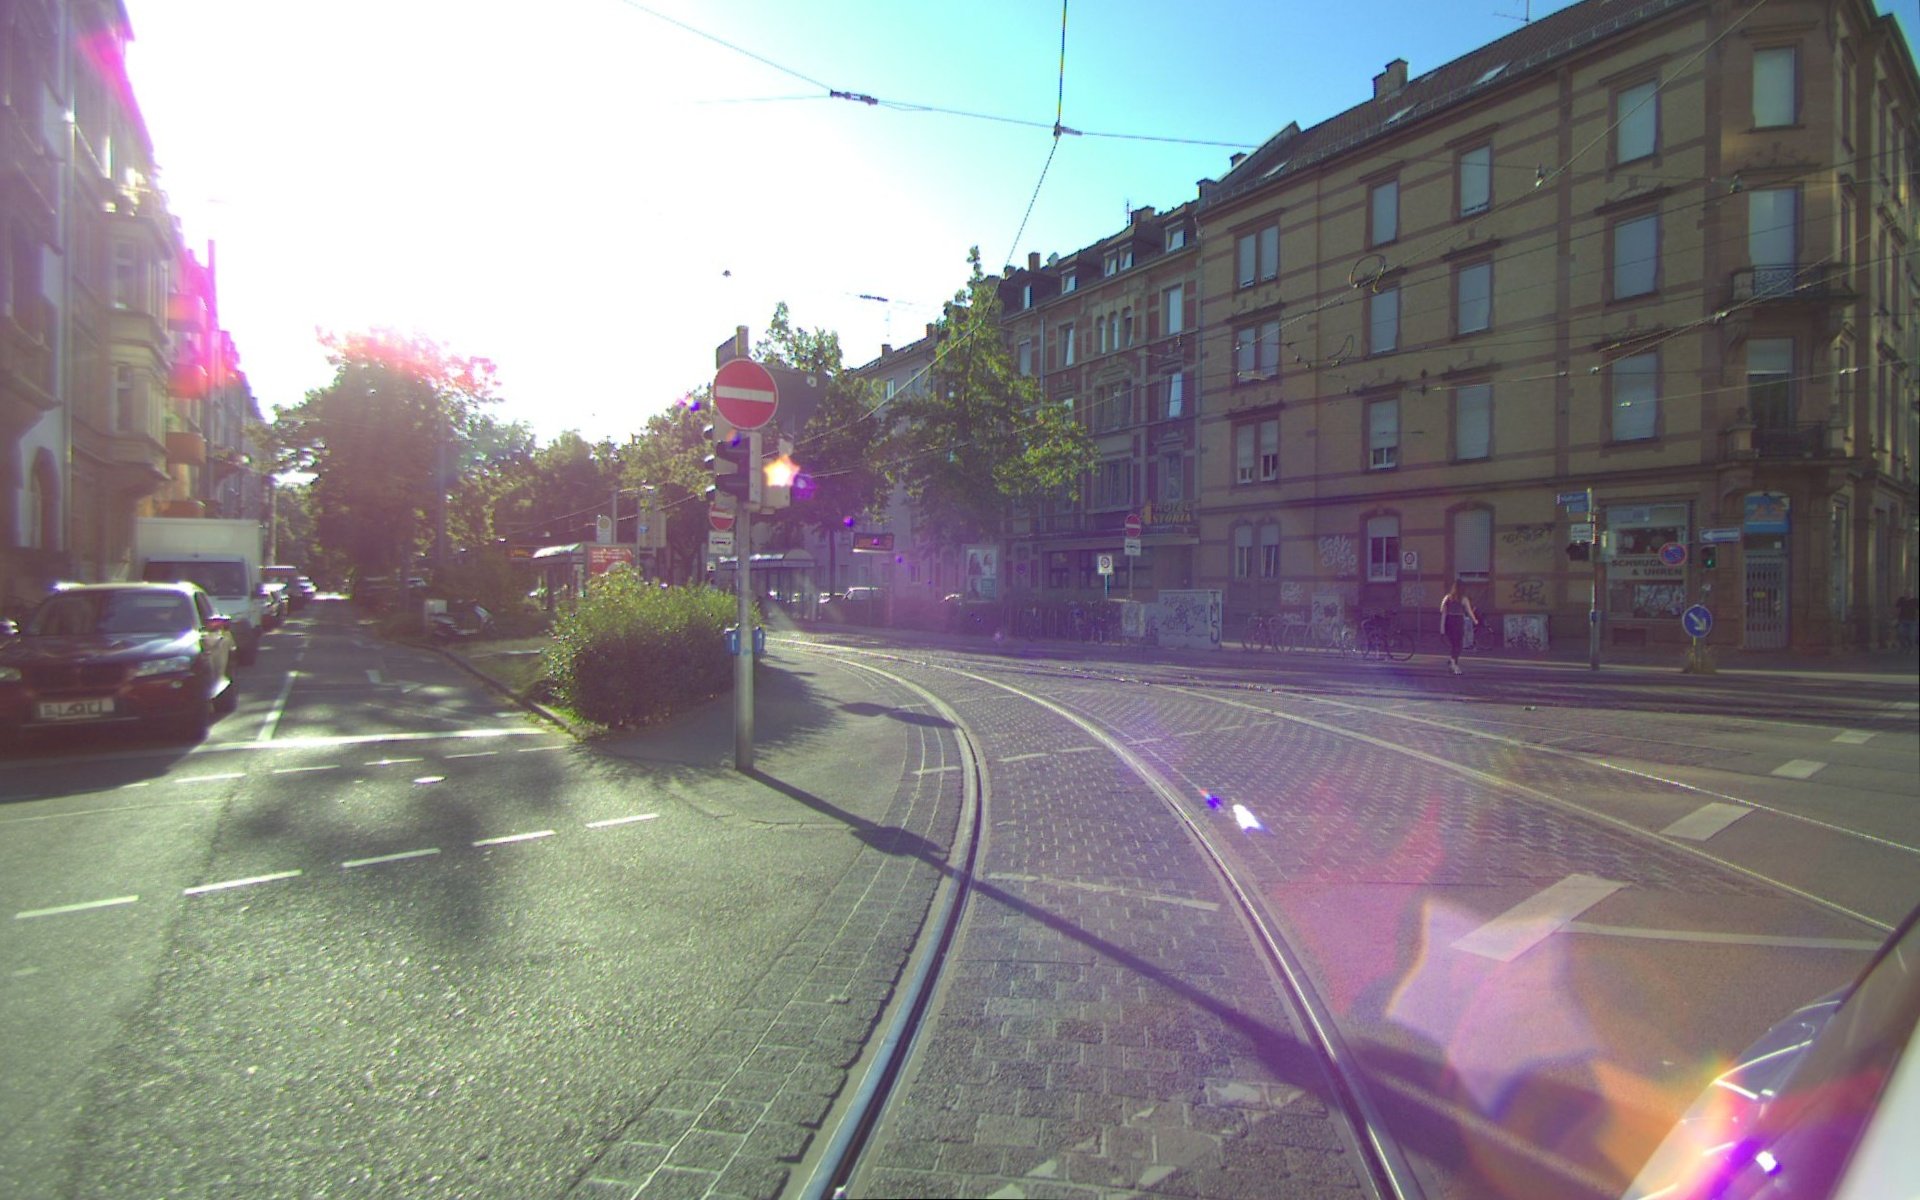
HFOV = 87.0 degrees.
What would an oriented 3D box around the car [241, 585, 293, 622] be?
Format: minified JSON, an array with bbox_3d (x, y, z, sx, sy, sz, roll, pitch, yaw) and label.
[{"bbox_3d":[-35.370,0.146,51.742,1.906,1.793,4.276,-2,1,-31],"label":"car"}]

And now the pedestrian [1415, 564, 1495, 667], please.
[{"bbox_3d":[9.169,0.264,18.742,1.065,1.829,1.024,0,0,-43],"label":"pedestrian"}]

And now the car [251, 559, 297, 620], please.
[{"bbox_3d":[-41.484,-0.635,61.288,1.906,3.513,5.705,-2,1,-31],"label":"car"}]

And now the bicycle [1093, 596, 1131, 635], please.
[{"bbox_3d":[4.600,0.461,30.697,0.490,1.121,1.804,0,1,-13],"label":"bicycle"}]

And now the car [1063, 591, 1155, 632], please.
[{"bbox_3d":[5.741,0.437,39.391,1.663,1.514,3.583,1,-1,-30],"label":"car"}]

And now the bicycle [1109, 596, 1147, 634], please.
[{"bbox_3d":[5.090,0.436,30.815,0.490,1.121,1.804,0,1,-13],"label":"bicycle"}]

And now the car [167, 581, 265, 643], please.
[{"bbox_3d":[-21.961,0.293,30.009,1.906,1.652,4.276,-2,1,-31],"label":"car"}]

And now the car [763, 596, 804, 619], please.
[{"bbox_3d":[-12.381,0.508,70.893,1.663,1.534,3.583,2,-1,-31],"label":"car"}]

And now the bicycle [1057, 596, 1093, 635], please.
[{"bbox_3d":[3.464,0.455,30.661,0.490,1.121,1.804,0,1,-13],"label":"bicycle"}]

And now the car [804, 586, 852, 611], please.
[{"bbox_3d":[-8.397,-0.099,64.216,1.663,1.534,3.583,2,-1,-31],"label":"car"}]

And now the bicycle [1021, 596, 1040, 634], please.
[{"bbox_3d":[2.143,0.437,30.922,0.491,1.121,1.799,0,1,2],"label":"bicycle"}]

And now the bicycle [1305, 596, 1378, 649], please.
[{"bbox_3d":[9.503,0.565,25.174,1.930,1.279,0.756,2,-1,-36],"label":"bicycle"}]

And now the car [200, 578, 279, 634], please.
[{"bbox_3d":[-25.376,0.174,35.779,1.906,1.793,4.276,-2,1,-31],"label":"car"}]

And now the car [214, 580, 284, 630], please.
[{"bbox_3d":[-27.977,0.160,39.947,1.906,1.793,4.276,-2,1,-31],"label":"car"}]

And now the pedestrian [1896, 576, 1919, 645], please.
[{"bbox_3d":[24.892,0.267,26.238,0.741,1.744,0.777,0,2,-39],"label":"pedestrian"}]

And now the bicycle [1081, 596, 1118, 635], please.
[{"bbox_3d":[4.198,0.447,30.579,0.490,1.121,1.804,0,1,-13],"label":"bicycle"}]

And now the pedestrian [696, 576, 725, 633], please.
[{"bbox_3d":[-9.136,0.160,37.016,0.846,2.039,0.607,2,0,-29],"label":"pedestrian"}]

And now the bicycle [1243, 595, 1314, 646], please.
[{"bbox_3d":[8.344,0.538,26.491,1.930,1.279,0.756,2,-1,-36],"label":"bicycle"}]

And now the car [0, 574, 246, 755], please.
[{"bbox_3d":[-9.497,0.573,11.505,1.906,1.652,4.276,-2,1,-31],"label":"car"}]

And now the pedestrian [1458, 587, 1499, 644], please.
[{"bbox_3d":[15.253,0.445,29.764,0.749,1.590,0.745,-5,2,-33],"label":"pedestrian"}]

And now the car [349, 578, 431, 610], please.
[{"bbox_3d":[-36.964,-0.407,65.732,4.190,1.949,1.945,-1,1,-1],"label":"car"}]

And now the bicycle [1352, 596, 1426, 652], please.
[{"bbox_3d":[10.145,0.569,23.916,1.800,1.279,0.756,2,-1,-36],"label":"bicycle"}]

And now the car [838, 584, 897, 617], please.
[{"bbox_3d":[-5.496,0.026,59.806,1.937,1.842,3.985,2,-1,-31],"label":"car"}]

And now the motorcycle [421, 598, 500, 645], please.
[{"bbox_3d":[-13.154,0.548,26.670,1.723,1.032,0.607,-7,4,-36],"label":"motorcycle"}]

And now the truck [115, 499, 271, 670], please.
[{"bbox_3d":[-16.779,-0.348,22.425,2.287,3.118,8.083,-2,1,-35],"label":"truck"}]
